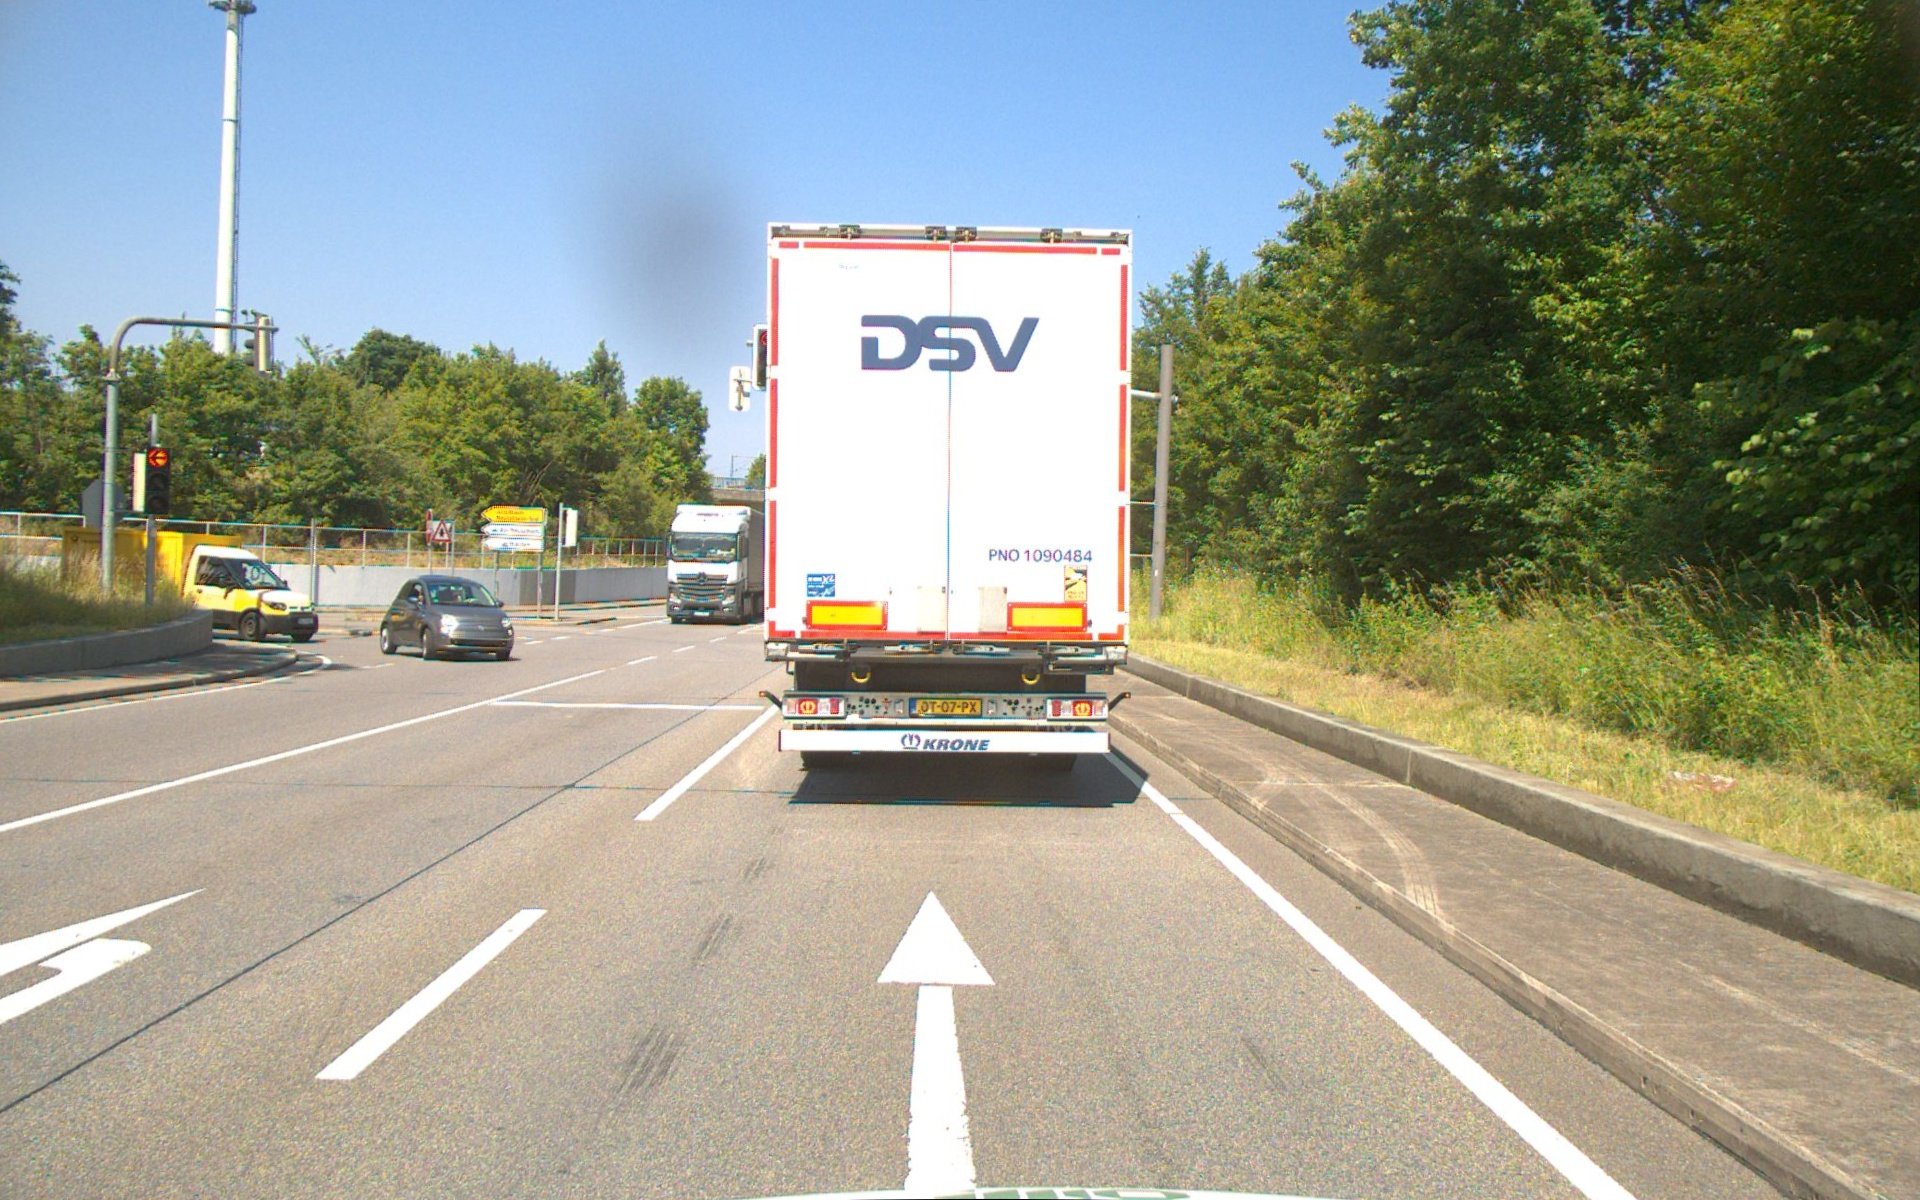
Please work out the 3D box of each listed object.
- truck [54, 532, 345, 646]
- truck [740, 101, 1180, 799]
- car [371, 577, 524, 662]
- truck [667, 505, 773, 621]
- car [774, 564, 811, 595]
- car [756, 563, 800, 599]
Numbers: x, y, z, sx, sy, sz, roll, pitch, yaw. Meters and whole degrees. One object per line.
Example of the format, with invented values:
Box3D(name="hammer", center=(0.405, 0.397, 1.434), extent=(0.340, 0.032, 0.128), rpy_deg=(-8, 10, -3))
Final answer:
Box3D(name="truck", center=(-16.698, -0.264, 36.339), extent=(5.878, 2.314, 1.986), rpy_deg=(1, 1, 15))
Box3D(name="truck", center=(-0.059, -1.041, 16.061), extent=(2.890, 4.648, 9.861), rpy_deg=(1, 0, -1))
Box3D(name="car", center=(-9.763, 0.336, 31.378), extent=(1.576, 1.495, 3.550), rpy_deg=(1, 1, -39))
Box3D(name="truck", center=(-8.712, -1.337, 61.463), extent=(2.305, 3.815, 12.623), rpy_deg=(1, 1, -1))
Box3D(name="car", center=(-9.267, -1.153, 91.609), extent=(1.711, 1.654, 3.702), rpy_deg=(1, 1, -1))
Box3D(name="car", center=(-8.647, -0.920, 78.801), extent=(1.711, 1.654, 3.702), rpy_deg=(1, 1, -1))
